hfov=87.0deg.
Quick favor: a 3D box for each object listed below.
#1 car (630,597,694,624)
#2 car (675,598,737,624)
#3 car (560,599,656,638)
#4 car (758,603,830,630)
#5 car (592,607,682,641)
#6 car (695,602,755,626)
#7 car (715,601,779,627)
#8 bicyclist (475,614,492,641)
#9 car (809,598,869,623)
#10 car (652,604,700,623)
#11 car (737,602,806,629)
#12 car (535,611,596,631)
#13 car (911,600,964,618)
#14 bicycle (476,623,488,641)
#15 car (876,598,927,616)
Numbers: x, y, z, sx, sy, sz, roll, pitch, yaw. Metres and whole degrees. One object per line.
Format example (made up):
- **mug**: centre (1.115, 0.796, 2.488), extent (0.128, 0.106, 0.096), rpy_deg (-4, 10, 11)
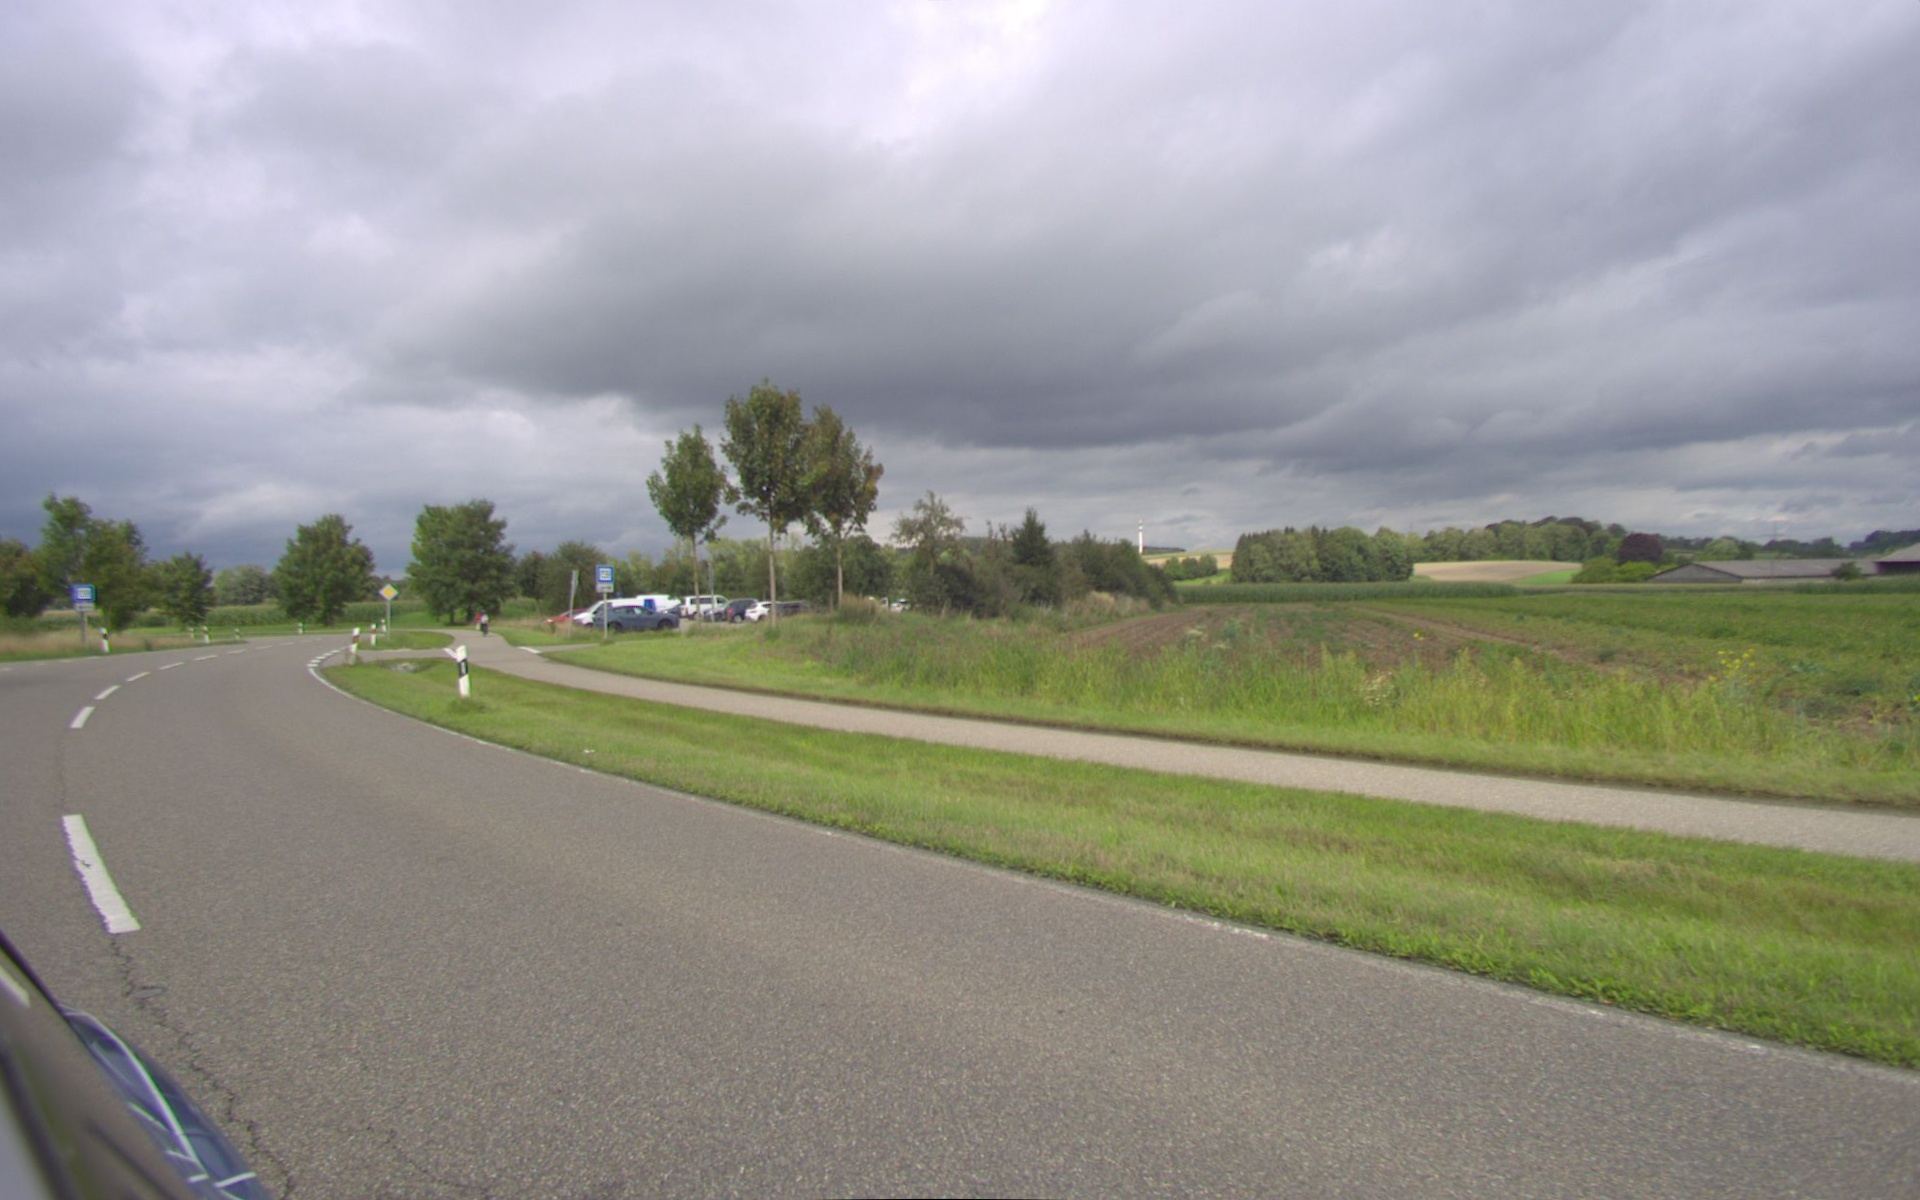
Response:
- **car**: centre (-32.038, 1.083, 108.902), extent (6.226, 2.639, 2.208), rpy_deg (-2, 0, -27)
- **car**: centre (-21.221, 0.911, 84.532), extent (4.616, 1.940, 2.068), rpy_deg (-4, 1, -28)
- **car**: centre (-19.982, 1.032, 57.495), extent (4.825, 2.029, 2.063), rpy_deg (-2, 0, -28)
- **car**: centre (-10.207, 1.008, 62.227), extent (3.934, 1.398, 1.847), rpy_deg (-3, 1, -34)
- **car**: centre (-17.046, 1.258, 53.392), extent (4.188, 1.607, 2.006), rpy_deg (-2, 0, -27)
- **car**: centre (-17.490, 1.038, 75.446), extent (3.931, 1.563, 1.972), rpy_deg (-4, 1, -27)
- **car**: centre (-14.943, 0.985, 71.035), extent (3.931, 1.563, 1.972), rpy_deg (-3, 1, -27)
- **bicyclist**: centre (-28.731, 1.635, 61.016), extent (0.819, 1.577, 1.059), rpy_deg (-2, 0, -23)
- **car**: centre (-8.308, 0.697, 69.685), extent (3.745, 1.537, 1.775), rpy_deg (-2, 0, 4)
- **car**: centre (-26.313, 1.221, 93.646), extent (3.931, 1.536, 1.799), rpy_deg (-2, 0, -29)
- **car**: centre (-12.404, 1.010, 66.633), extent (3.934, 1.563, 1.971), rpy_deg (-3, 1, -34)
- **car**: centre (-31.125, 1.661, 79.812), extent (4.303, 1.427, 1.819), rpy_deg (-2, 0, -27)
- **car**: centre (-1.840, 0.710, 83.143), extent (3.931, 1.398, 1.744), rpy_deg (-1, 0, -25)
- **bicycle**: centre (-28.787, 1.937, 61.017), extent (0.626, 1.040, 2.198), rpy_deg (-1, 0, -25)
- **car**: centre (-5.028, 0.564, 87.091), extent (3.931, 1.384, 1.972), rpy_deg (-2, 0, -23)
